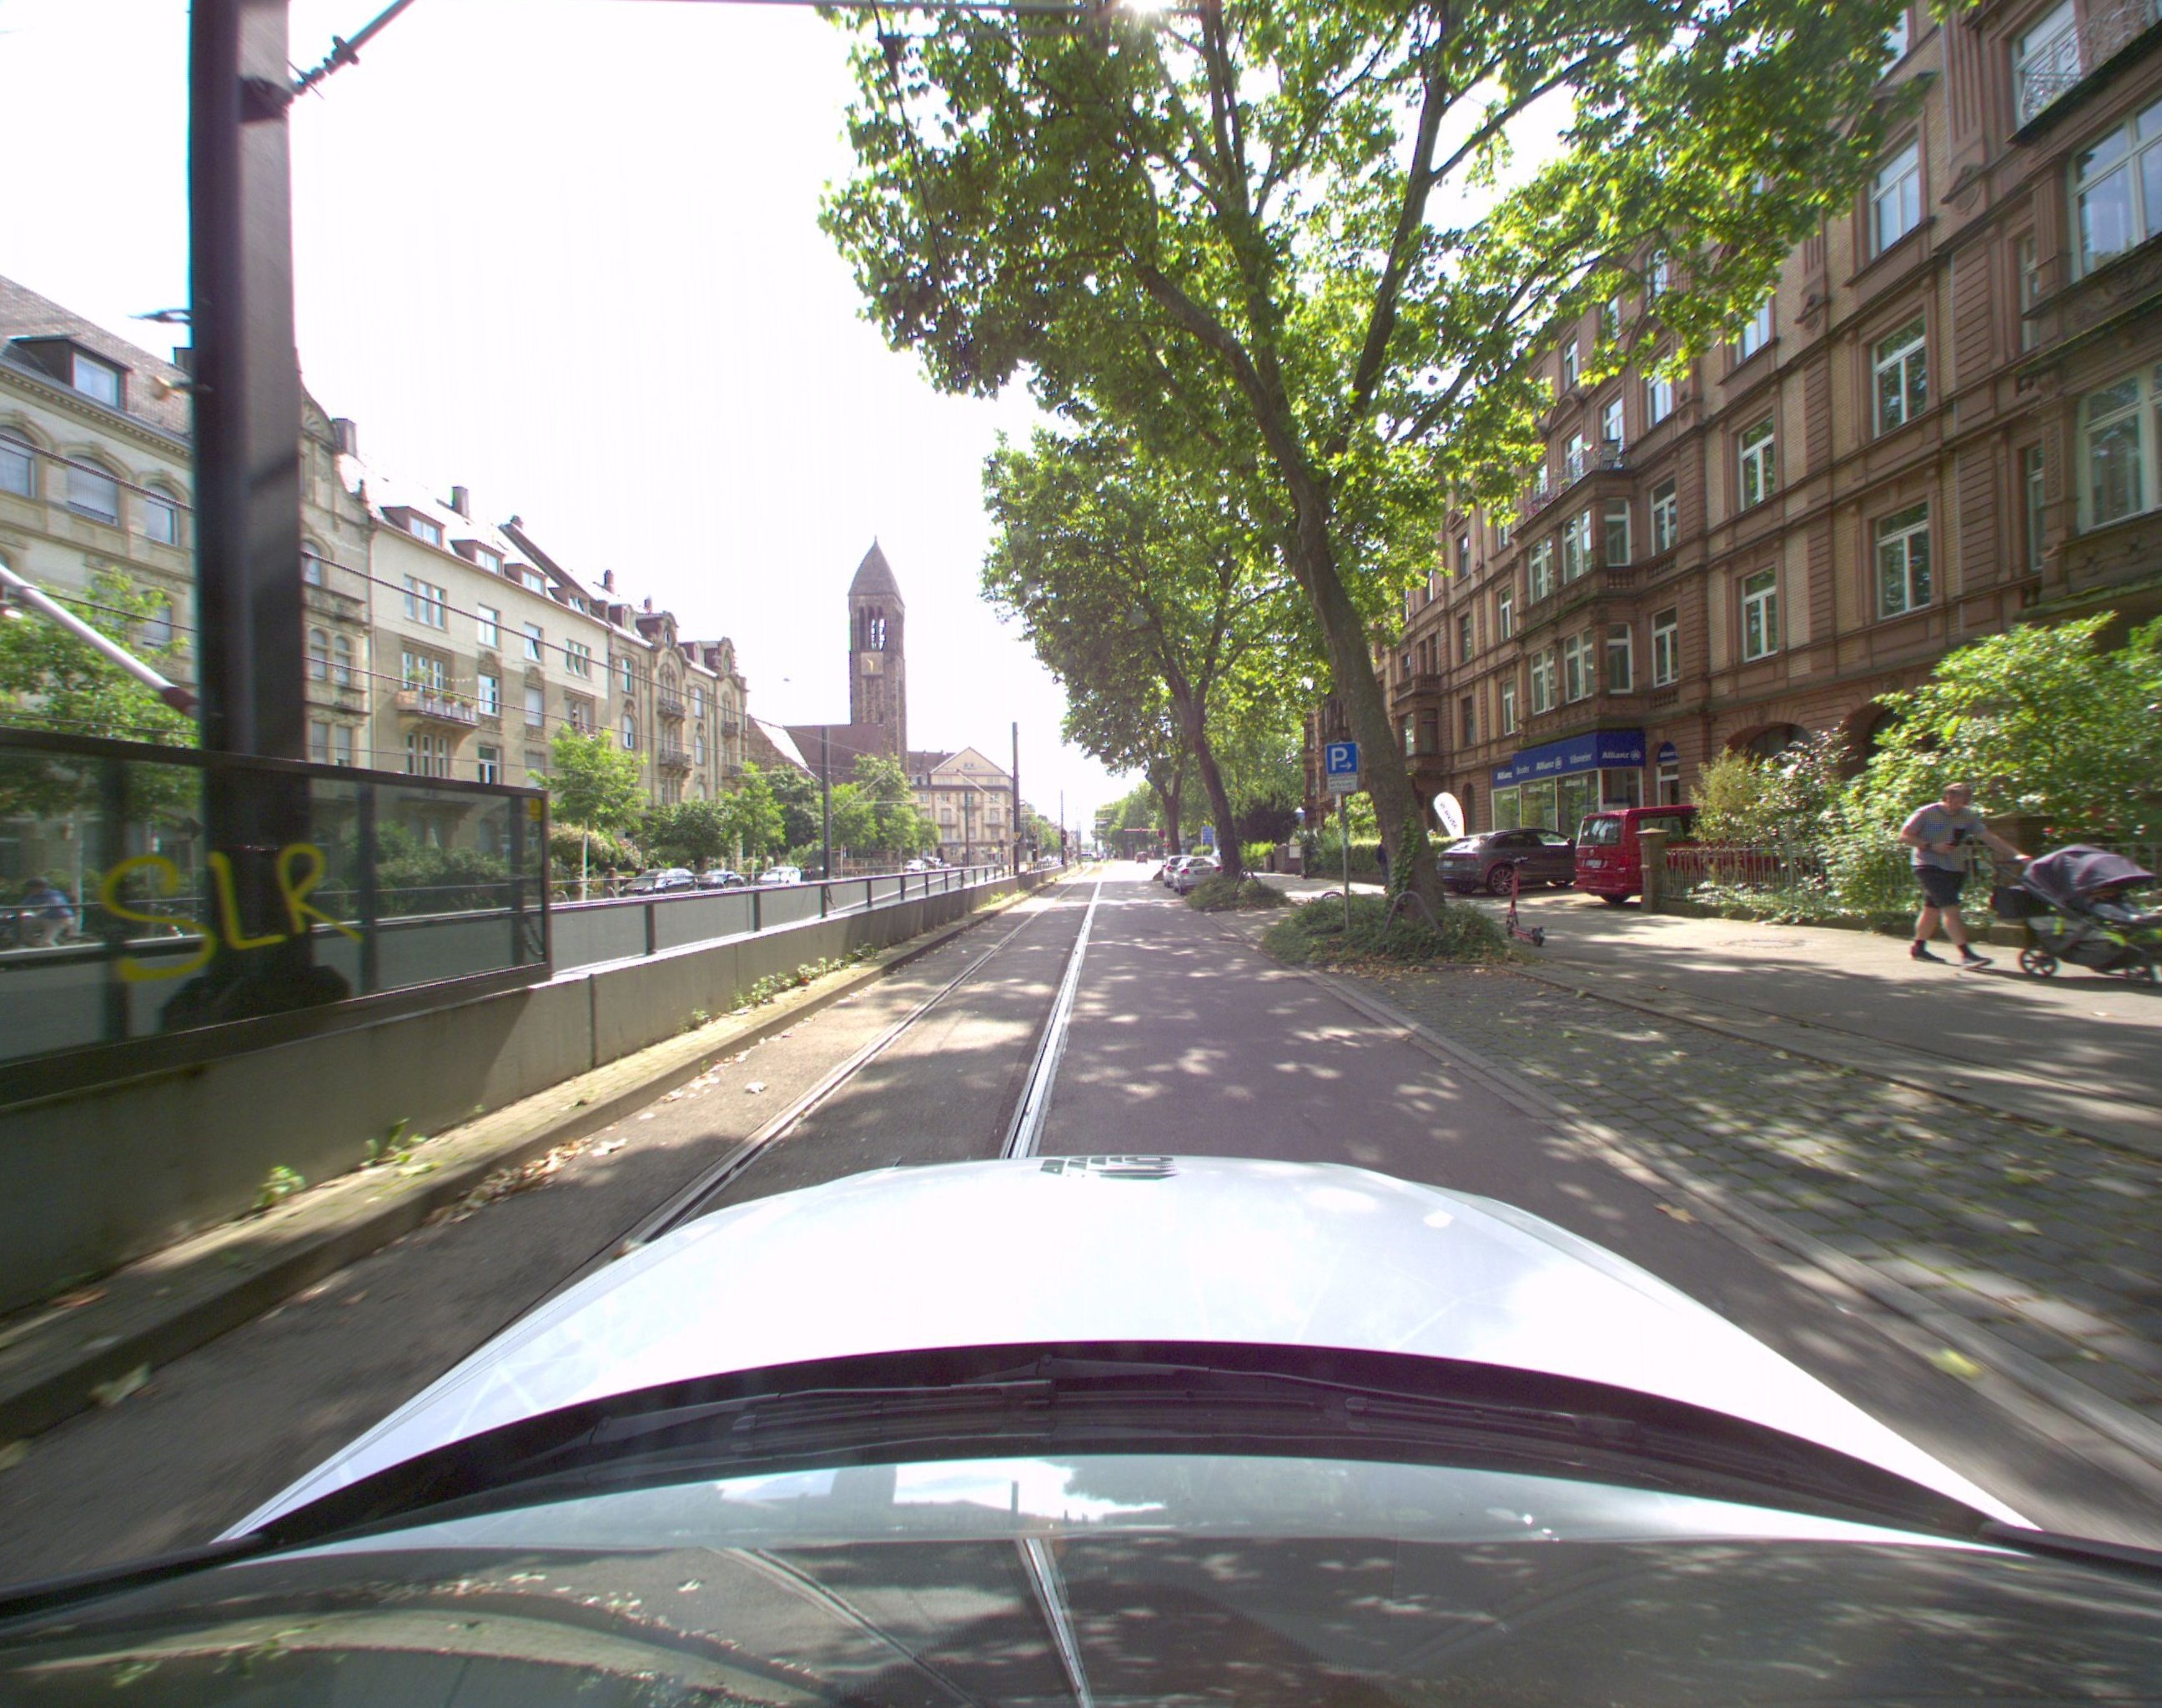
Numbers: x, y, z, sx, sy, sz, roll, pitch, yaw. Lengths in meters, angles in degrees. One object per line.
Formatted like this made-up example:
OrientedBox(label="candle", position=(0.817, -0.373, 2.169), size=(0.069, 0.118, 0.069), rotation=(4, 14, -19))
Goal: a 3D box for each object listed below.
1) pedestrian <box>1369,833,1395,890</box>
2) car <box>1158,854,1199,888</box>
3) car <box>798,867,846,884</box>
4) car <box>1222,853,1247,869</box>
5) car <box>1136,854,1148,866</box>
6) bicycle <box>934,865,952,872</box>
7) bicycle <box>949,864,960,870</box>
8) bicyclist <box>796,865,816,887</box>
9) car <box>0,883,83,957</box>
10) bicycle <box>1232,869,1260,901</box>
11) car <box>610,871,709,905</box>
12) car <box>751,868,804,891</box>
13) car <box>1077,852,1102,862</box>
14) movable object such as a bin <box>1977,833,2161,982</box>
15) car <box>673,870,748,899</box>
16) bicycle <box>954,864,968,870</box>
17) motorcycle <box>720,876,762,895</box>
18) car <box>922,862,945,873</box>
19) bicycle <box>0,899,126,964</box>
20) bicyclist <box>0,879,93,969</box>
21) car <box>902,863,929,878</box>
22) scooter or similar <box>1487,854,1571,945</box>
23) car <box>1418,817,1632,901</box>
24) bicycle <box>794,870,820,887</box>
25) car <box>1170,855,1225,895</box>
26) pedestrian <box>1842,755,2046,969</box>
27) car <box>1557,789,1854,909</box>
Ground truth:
OrientedBox(label="pedestrian", position=(9.659, 0.248, 26.171), size=(0.562, 1.786, 0.630), rotation=(-2, -1, 2))
OrientedBox(label="car", position=(4.651, 0.811, 39.234), size=(1.548, 1.485, 3.860), rotation=(-2, -1, 2))
OrientedBox(label="car", position=(-24.579, 2.066, 77.448), size=(3.947, 1.464, 1.724), rotation=(-2, 0, 2))
OrientedBox(label="car", position=(15.005, 0.668, 79.598), size=(1.799, 1.455, 4.003), rotation=(-1, 0, 2))
OrientedBox(label="car", position=(9.595, 0.898, 128.385), size=(1.743, 1.809, 3.477), rotation=(0, 0, 2))
OrientedBox(label="bicycle", position=(-26.674, 2.719, 157.031), size=(3.283, 1.253, 1.003), rotation=(-2, -1, 18))
OrientedBox(label="bicycle", position=(-24.299, 2.564, 156.433), size=(1.985, 1.114, 0.482), rotation=(-1, -1, -35))
OrientedBox(label="bicyclist", position=(-17.285, 1.388, 51.252), size=(0.764, 1.337, 1.049), rotation=(-3, -1, 2))
OrientedBox(label="car", position=(-26.136, 1.548, 18.550), size=(3.946, 1.606, 2.031), rotation=(-1, -1, -7))
OrientedBox(label="bicycle", position=(5.520, 1.027, 27.331), size=(0.578, 1.020, 1.322), rotation=(-2, 0, -3))
OrientedBox(label="car", position=(-19.534, 1.542, 38.048), size=(1.941, 1.327, 4.729), rotation=(-2, 0, 3))
OrientedBox(label="car", position=(-19.276, 1.584, 51.919), size=(1.746, 1.328, 4.312), rotation=(-2, 0, 0))
OrientedBox(label="car", position=(1.759, 0.698, 165.827), size=(4.691, 1.860, 2.012), rotation=(-2, 0, 26))
OrientedBox(label="movable object such as a bin", position=(9.002, 0.449, 7.329), size=(0.606, 1.209, 1.057), rotation=(-4, 0, -4))
OrientedBox(label="car", position=(-19.452, 1.582, 42.984), size=(2.013, 1.327, 4.100), rotation=(-2, 0, 0))
OrientedBox(label="bicycle", position=(-23.229, 2.570, 157.819), size=(2.571, 1.053, 0.676), rotation=(-2, -1, -26))
OrientedBox(label="motorcycle", position=(-19.443, 1.810, 46.661), size=(1.754, 0.941, 1.418), rotation=(-3, 0, 0))
OrientedBox(label="car", position=(-22.556, 2.072, 124.640), size=(3.254, 1.502, 1.854), rotation=(-2, 0, 0))
OrientedBox(label="bicycle", position=(-18.327, 1.353, 14.328), size=(0.723, 0.996, 1.899), rotation=(-3, 0, 2))
OrientedBox(label="bicyclist", position=(-18.332, 1.205, 14.283), size=(0.736, 1.478, 0.978), rotation=(-3, 0, 1))
OrientedBox(label="car", position=(-18.116, 1.783, 89.408), size=(1.924, 1.504, 4.414), rotation=(-2, 0, 0))
OrientedBox(label="scooter or similar", position=(6.376, 0.619, 11.642), size=(0.465, 1.211, 1.324), rotation=(-2, 0, 2))
OrientedBox(label="car", position=(11.909, 0.125, 22.006), size=(4.715, 1.782, 2.001), rotation=(-5, 0, -6))
OrientedBox(label="bicycle", position=(-17.280, 1.561, 51.386), size=(0.773, 0.979, 2.142), rotation=(-3, 0, 3))
OrientedBox(label="car", position=(4.550, 0.801, 32.267), size=(1.671, 1.444, 3.860), rotation=(-2, -1, 2))
OrientedBox(label="pedestrian", position=(8.843, 0.075, 8.409), size=(0.762, 2.013, 1.119), rotation=(-4, 0, -3))
OrientedBox(label="car", position=(12.508, -0.094, 16.556), size=(4.380, 1.939, 1.984), rotation=(-5, 0, 2))
